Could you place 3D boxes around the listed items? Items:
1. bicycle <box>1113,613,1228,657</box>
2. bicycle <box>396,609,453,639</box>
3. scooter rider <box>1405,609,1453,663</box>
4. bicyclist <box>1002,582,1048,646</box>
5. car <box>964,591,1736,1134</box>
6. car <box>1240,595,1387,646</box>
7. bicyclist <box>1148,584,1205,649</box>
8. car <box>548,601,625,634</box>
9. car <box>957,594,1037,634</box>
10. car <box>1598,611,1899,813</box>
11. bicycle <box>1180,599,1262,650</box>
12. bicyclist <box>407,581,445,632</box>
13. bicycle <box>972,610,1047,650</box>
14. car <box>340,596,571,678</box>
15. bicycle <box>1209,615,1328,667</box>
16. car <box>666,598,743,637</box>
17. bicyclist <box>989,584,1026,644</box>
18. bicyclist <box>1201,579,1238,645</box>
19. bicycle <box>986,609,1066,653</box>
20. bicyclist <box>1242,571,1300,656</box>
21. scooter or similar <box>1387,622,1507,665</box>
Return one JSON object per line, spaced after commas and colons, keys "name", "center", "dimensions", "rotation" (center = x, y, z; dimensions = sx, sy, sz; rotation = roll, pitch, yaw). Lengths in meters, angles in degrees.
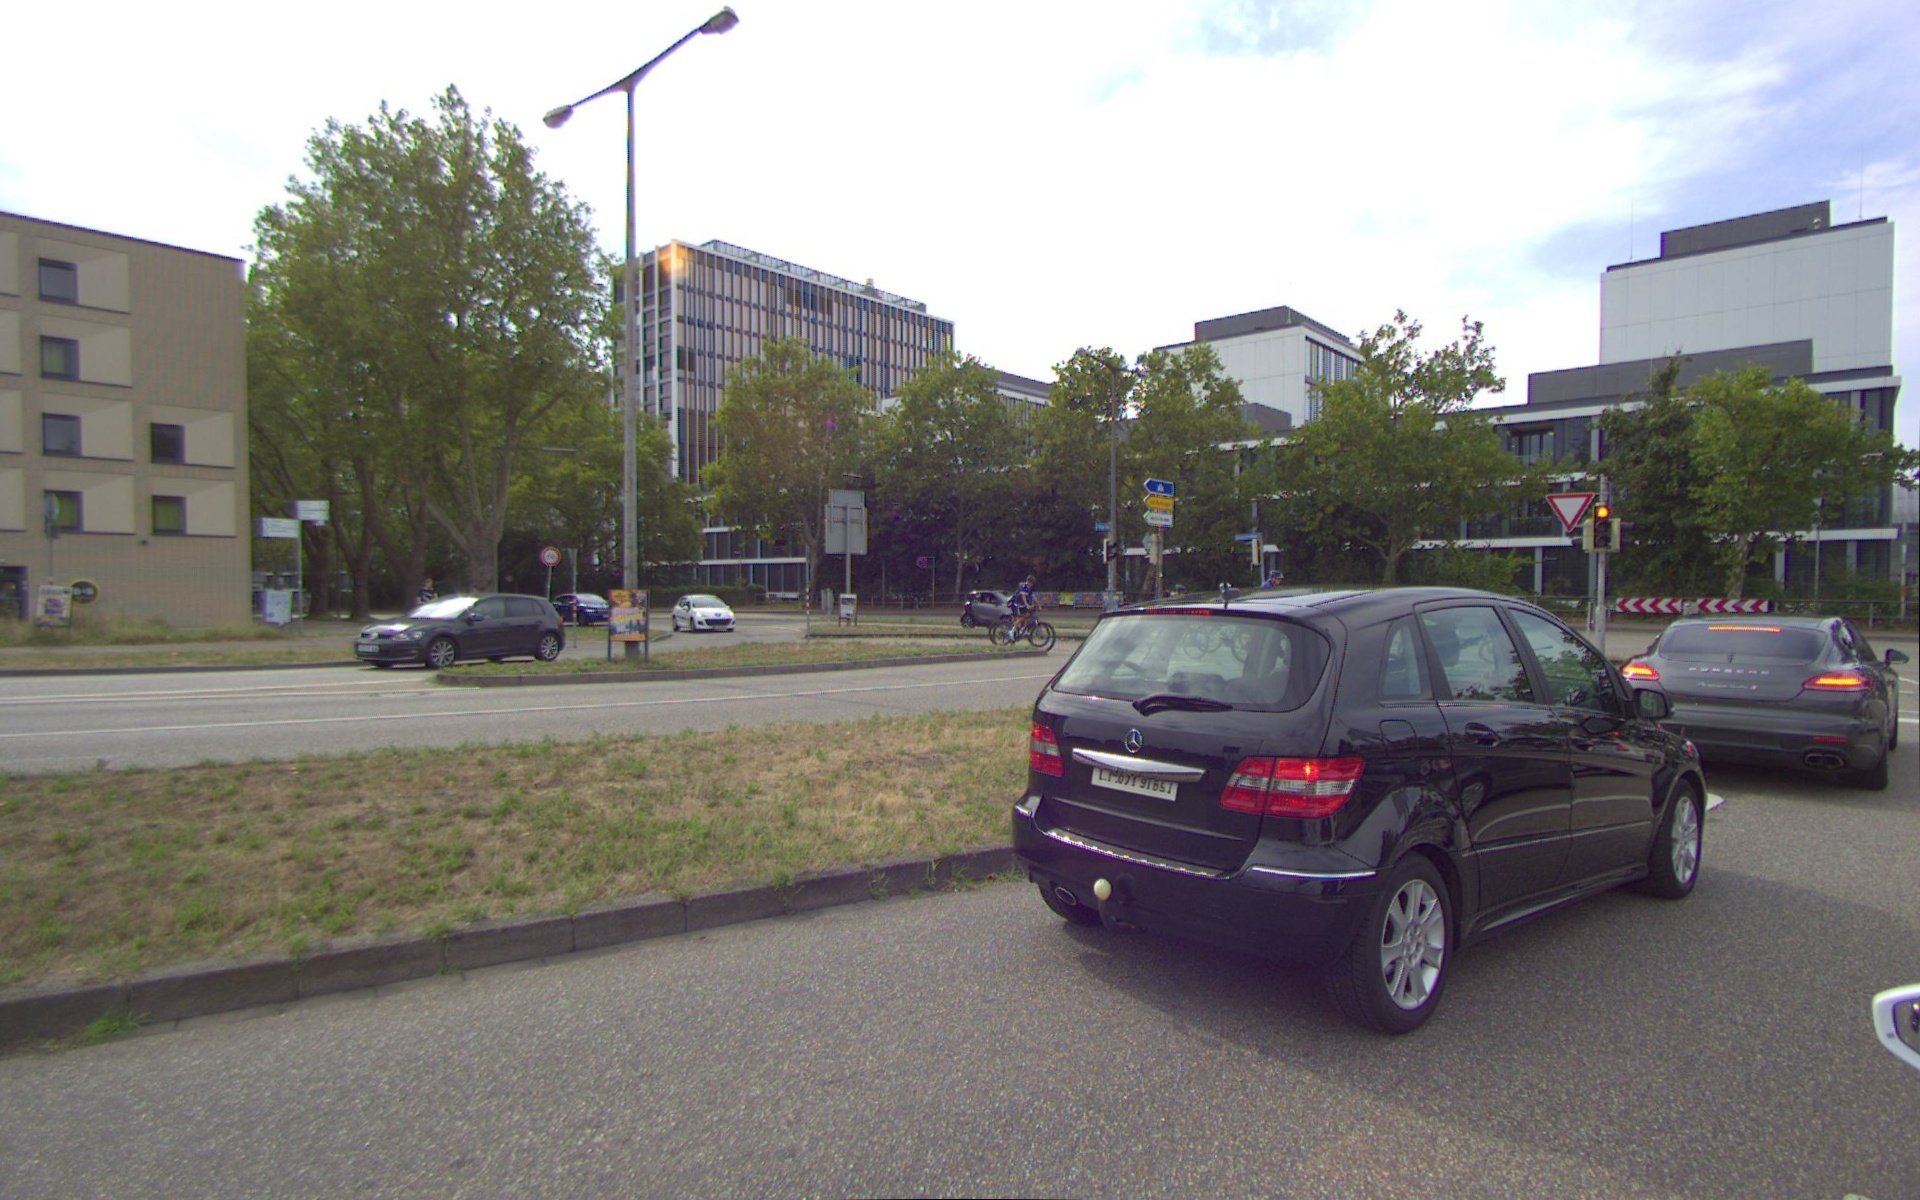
{"name": "bicycle", "center": [4.799, 0.777, 23.012], "dimensions": [2.552, 0.902, 0.701], "rotation": [1, 1, 39]}
{"name": "bicycle", "center": [-17.404, 0.771, 32.712], "dimensions": [0.727, 0.921, 2.119], "rotation": [1, 0, 0]}
{"name": "scooter rider", "center": [10.540, 0.787, 22.562], "dimensions": [0.901, 1.152, 0.807], "rotation": [1, 1, 31]}
{"name": "bicyclist", "center": [1.609, 0.333, 24.788], "dimensions": [0.999, 1.560, 0.628], "rotation": [1, 1, 21]}
{"name": "car", "center": [2.118, 0.773, 4.934], "dimensions": [4.000, 1.596, 1.743], "rotation": [-1, 2, -38]}
{"name": "car", "center": [11.037, 0.613, 31.477], "dimensions": [4.011, 1.470, 1.693], "rotation": [1, 0, 42]}
{"name": "bicyclist", "center": [4.928, 0.362, 22.909], "dimensions": [1.100, 1.456, 0.644], "rotation": [0, 1, 40]}
{"name": "car", "center": [-18.937, 0.872, 50.803], "dimensions": [4.402, 1.581, 1.938], "rotation": [1, -1, 44]}
{"name": "car", "center": [1.402, 0.515, 38.365], "dimensions": [2.678, 1.441, 1.492], "rotation": [1, 0, 40]}
{"name": "car", "center": [7.860, 0.860, 9.816], "dimensions": [1.799, 1.433, 4.746], "rotation": [2, 1, 44]}
{"name": "bicycle", "center": [6.463, 0.594, 24.937], "dimensions": [1.872, 1.226, 0.642], "rotation": [1, 1, 27]}
{"name": "bicyclist", "center": [-17.400, 0.197, 32.746], "dimensions": [0.727, 1.636, 0.920], "rotation": [1, 0, 0]}
{"name": "bicycle", "center": [1.311, 0.782, 26.624], "dimensions": [1.869, 1.027, 0.628], "rotation": [0, 1, 20]}
{"name": "car", "center": [-9.934, 0.671, 20.125], "dimensions": [1.763, 1.437, 3.999], "rotation": [1, 0, 21]}
{"name": "bicycle", "center": [6.270, 0.818, 20.508], "dimensions": [2.203, 0.965, 0.807], "rotation": [1, 0, 42]}
{"name": "car", "center": [-10.360, 0.692, 40.557], "dimensions": [1.715, 1.464, 3.836], "rotation": [2, -1, -36]}
{"name": "bicyclist", "center": [1.269, 0.363, 26.632], "dimensions": [0.824, 1.550, 0.628], "rotation": [0, 1, 20]}
{"name": "bicyclist", "center": [6.445, 0.278, 24.932], "dimensions": [0.767, 1.602, 0.654], "rotation": [1, 1, 27]}
{"name": "bicycle", "center": [1.631, 0.763, 24.790], "dimensions": [1.870, 1.027, 0.628], "rotation": [0, 1, 21]}
{"name": "bicyclist", "center": [6.331, 0.269, 20.450], "dimensions": [0.871, 1.678, 0.807], "rotation": [1, 0, 42]}
{"name": "scooter or similar", "center": [10.841, 0.944, 22.375], "dimensions": [2.344, 0.861, 0.807], "rotation": [1, 1, 31]}
